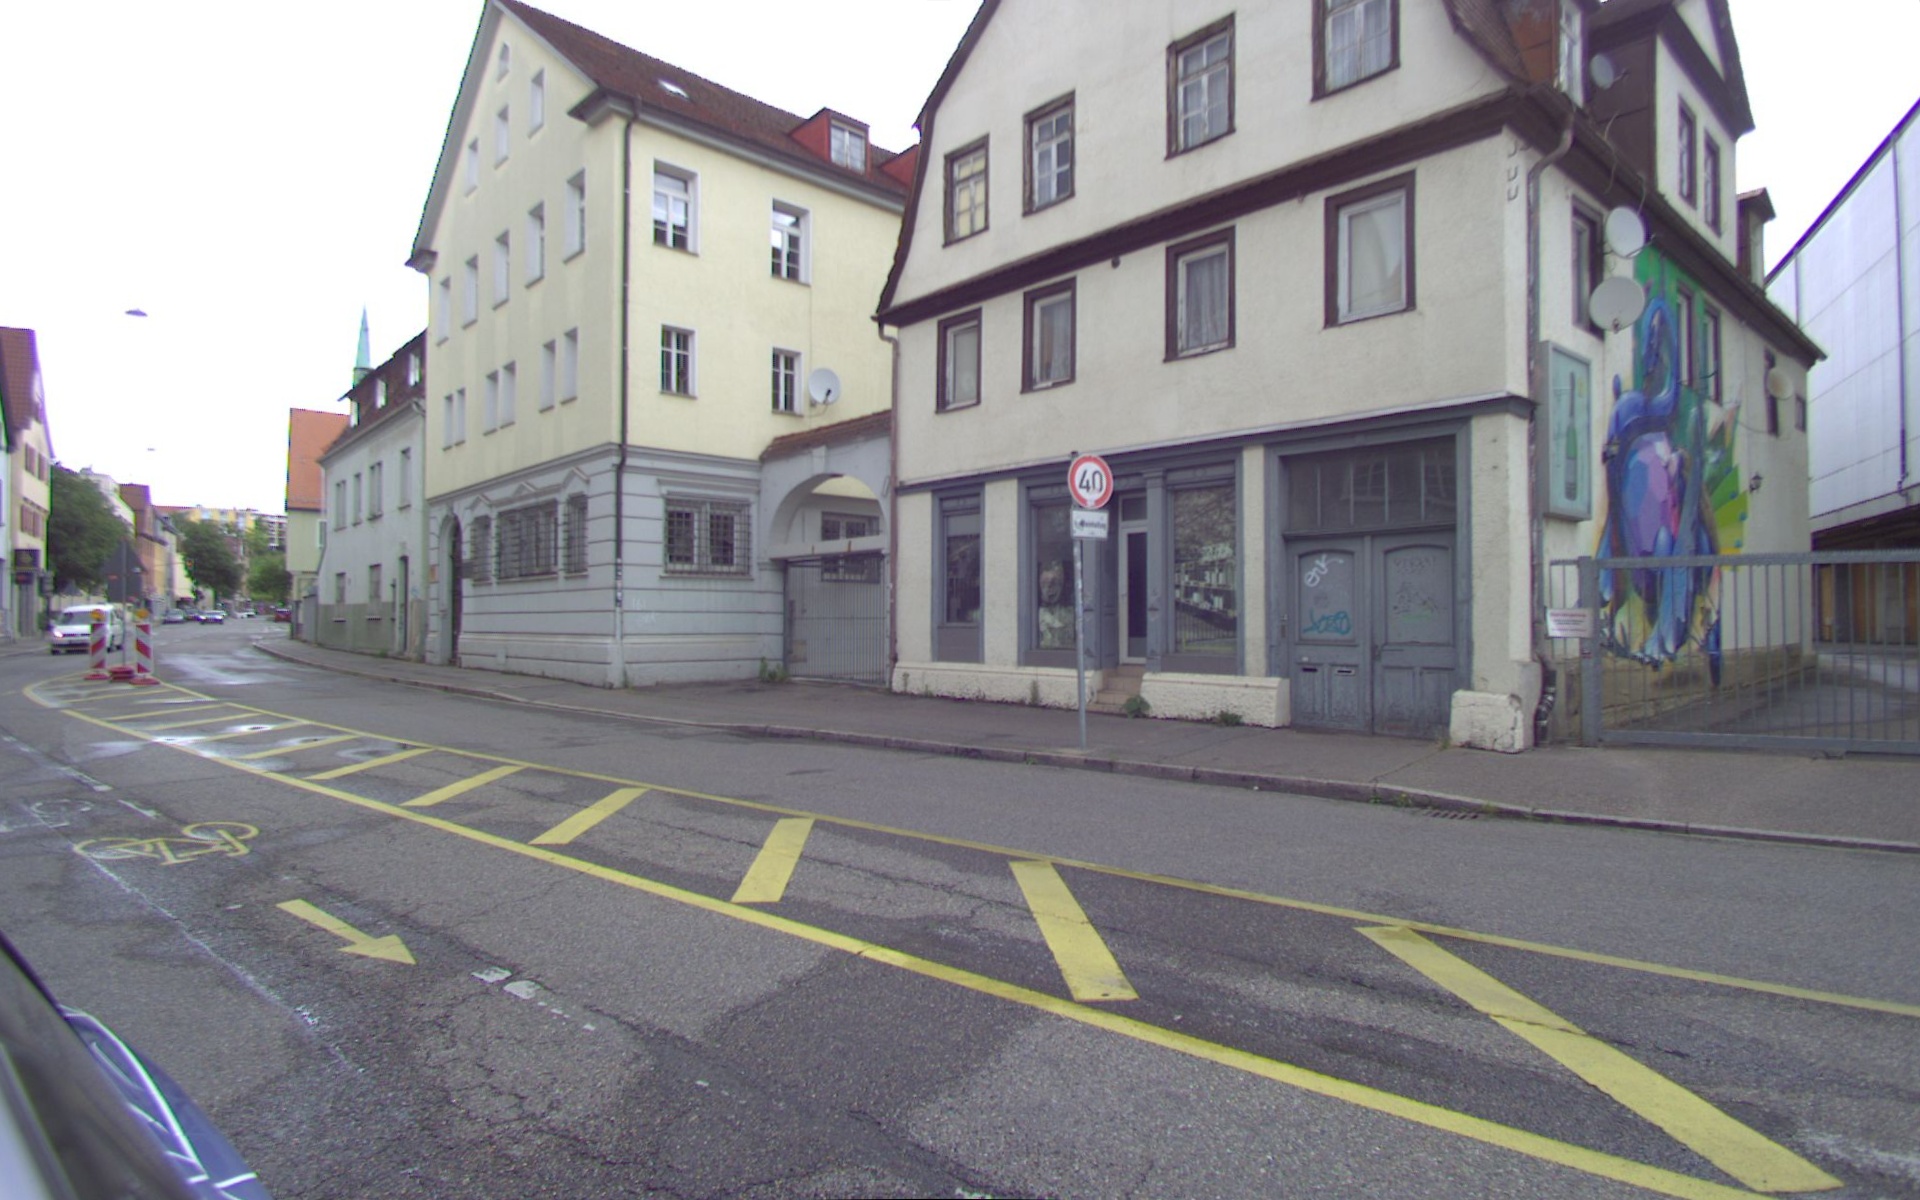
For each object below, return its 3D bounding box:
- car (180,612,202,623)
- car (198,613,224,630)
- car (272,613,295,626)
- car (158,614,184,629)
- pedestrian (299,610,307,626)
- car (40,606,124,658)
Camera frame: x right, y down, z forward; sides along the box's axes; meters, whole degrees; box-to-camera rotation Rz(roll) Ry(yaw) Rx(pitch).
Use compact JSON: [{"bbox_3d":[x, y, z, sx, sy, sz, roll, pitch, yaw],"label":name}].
[{"bbox_3d":[-96.593,2.168,127.204,1.792,1.399,4.011,2,-2,-32],"label":"car"},{"bbox_3d":[-76.750,2.163,103.786,1.967,1.691,4.010,0,0,-34],"label":"car"},{"bbox_3d":[-85.880,2.463,128.425,2.178,1.690,4.509,2,-2,-36],"label":"car"},{"bbox_3d":[-84.971,2.298,108.995,2.001,1.567,4.010,2,-2,-35],"label":"car"},{"bbox_3d":[-84.243,2.359,129.753,0.823,2.029,0.847,1,-2,-36],"label":"pedestrian"},{"bbox_3d":[-32.785,1.144,37.892,1.967,1.800,4.478,2,-1,-36],"label":"car"}]
